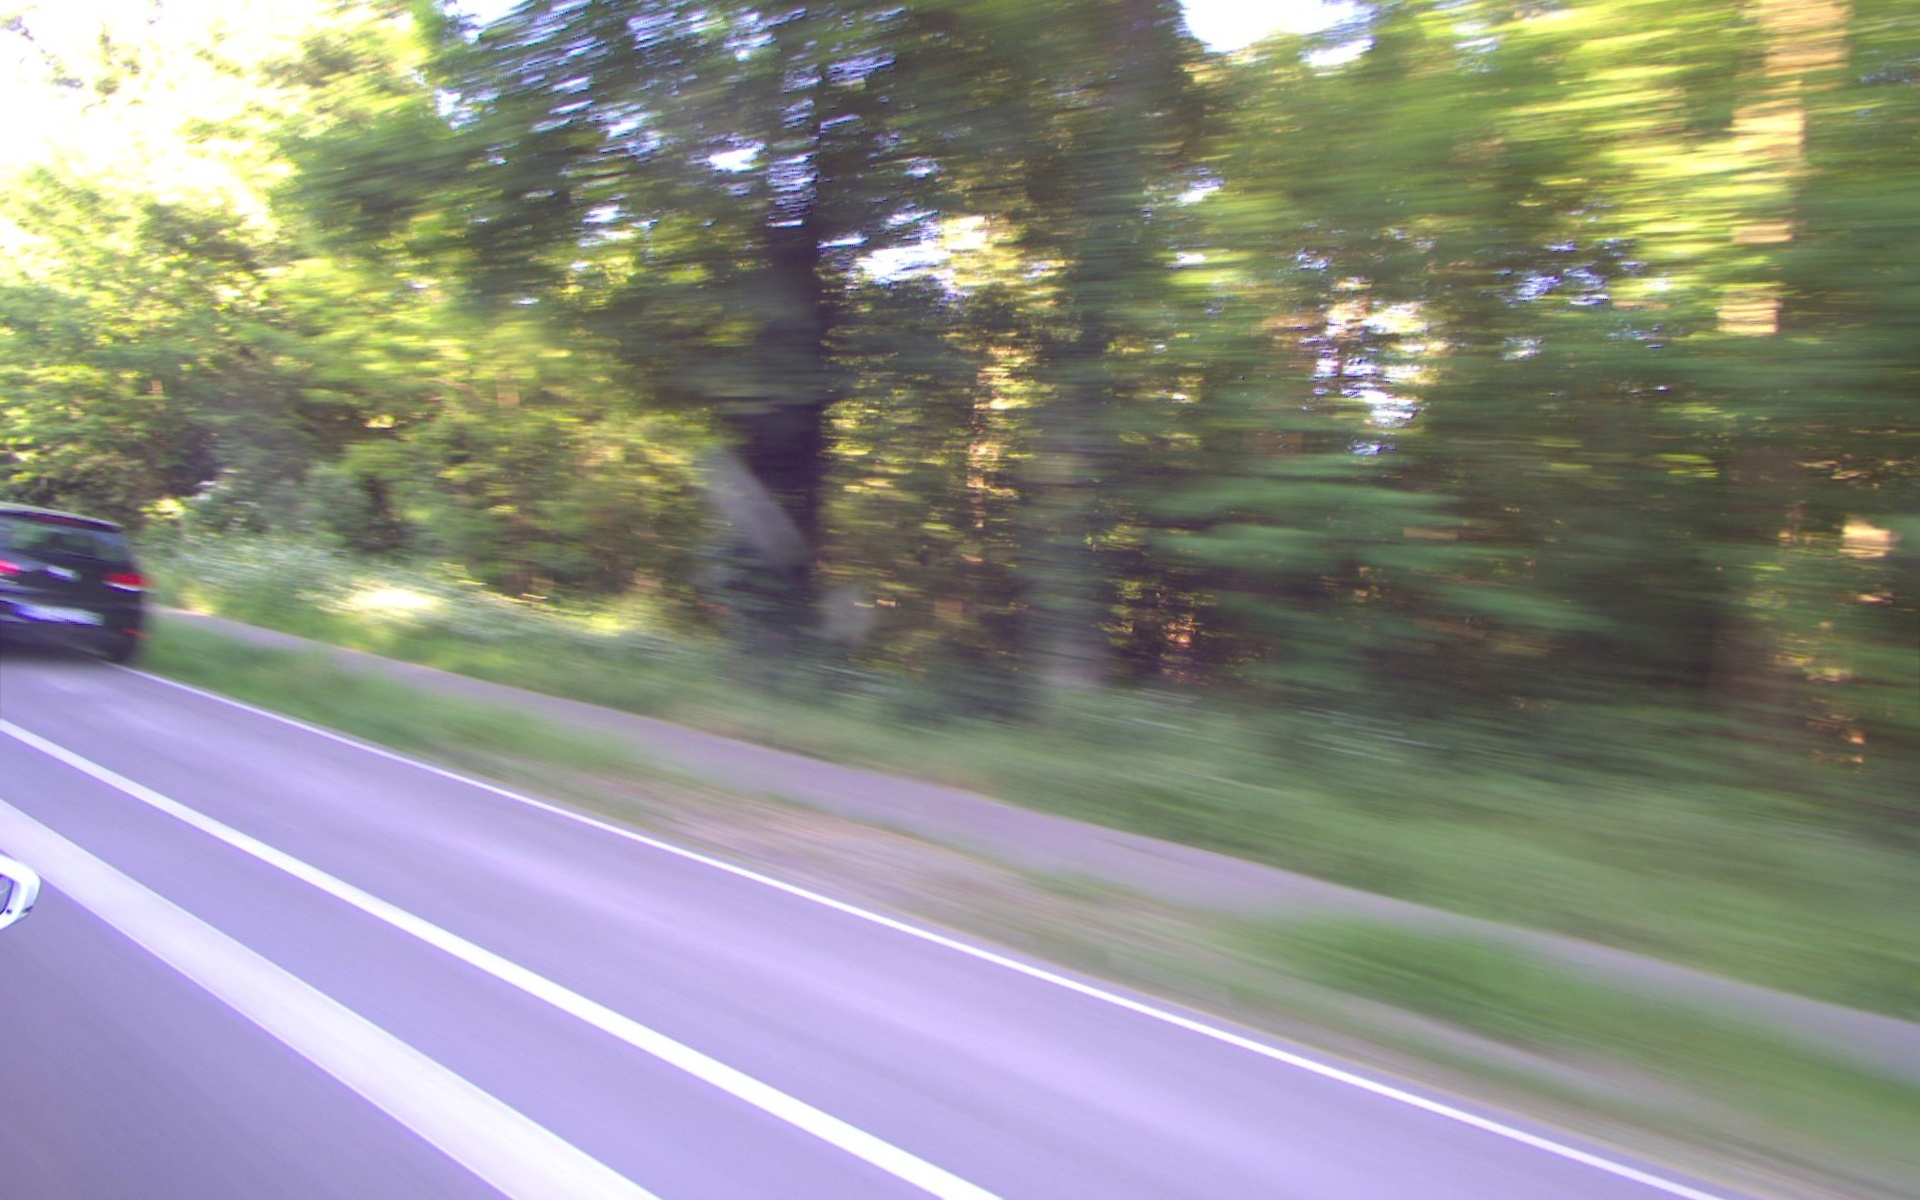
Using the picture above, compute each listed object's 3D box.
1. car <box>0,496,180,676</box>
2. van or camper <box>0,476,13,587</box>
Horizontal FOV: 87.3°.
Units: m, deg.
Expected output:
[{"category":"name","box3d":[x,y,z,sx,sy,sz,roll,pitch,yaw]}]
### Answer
[{"category":"car","box3d":[-10.061,-0.296,10.431,4.081,1.541,1.694,7,-2,32]},{"category":"van or camper","box3d":[-15.163,-1.027,13.788,4.307,1.837,1.955,7,-1,31]}]
